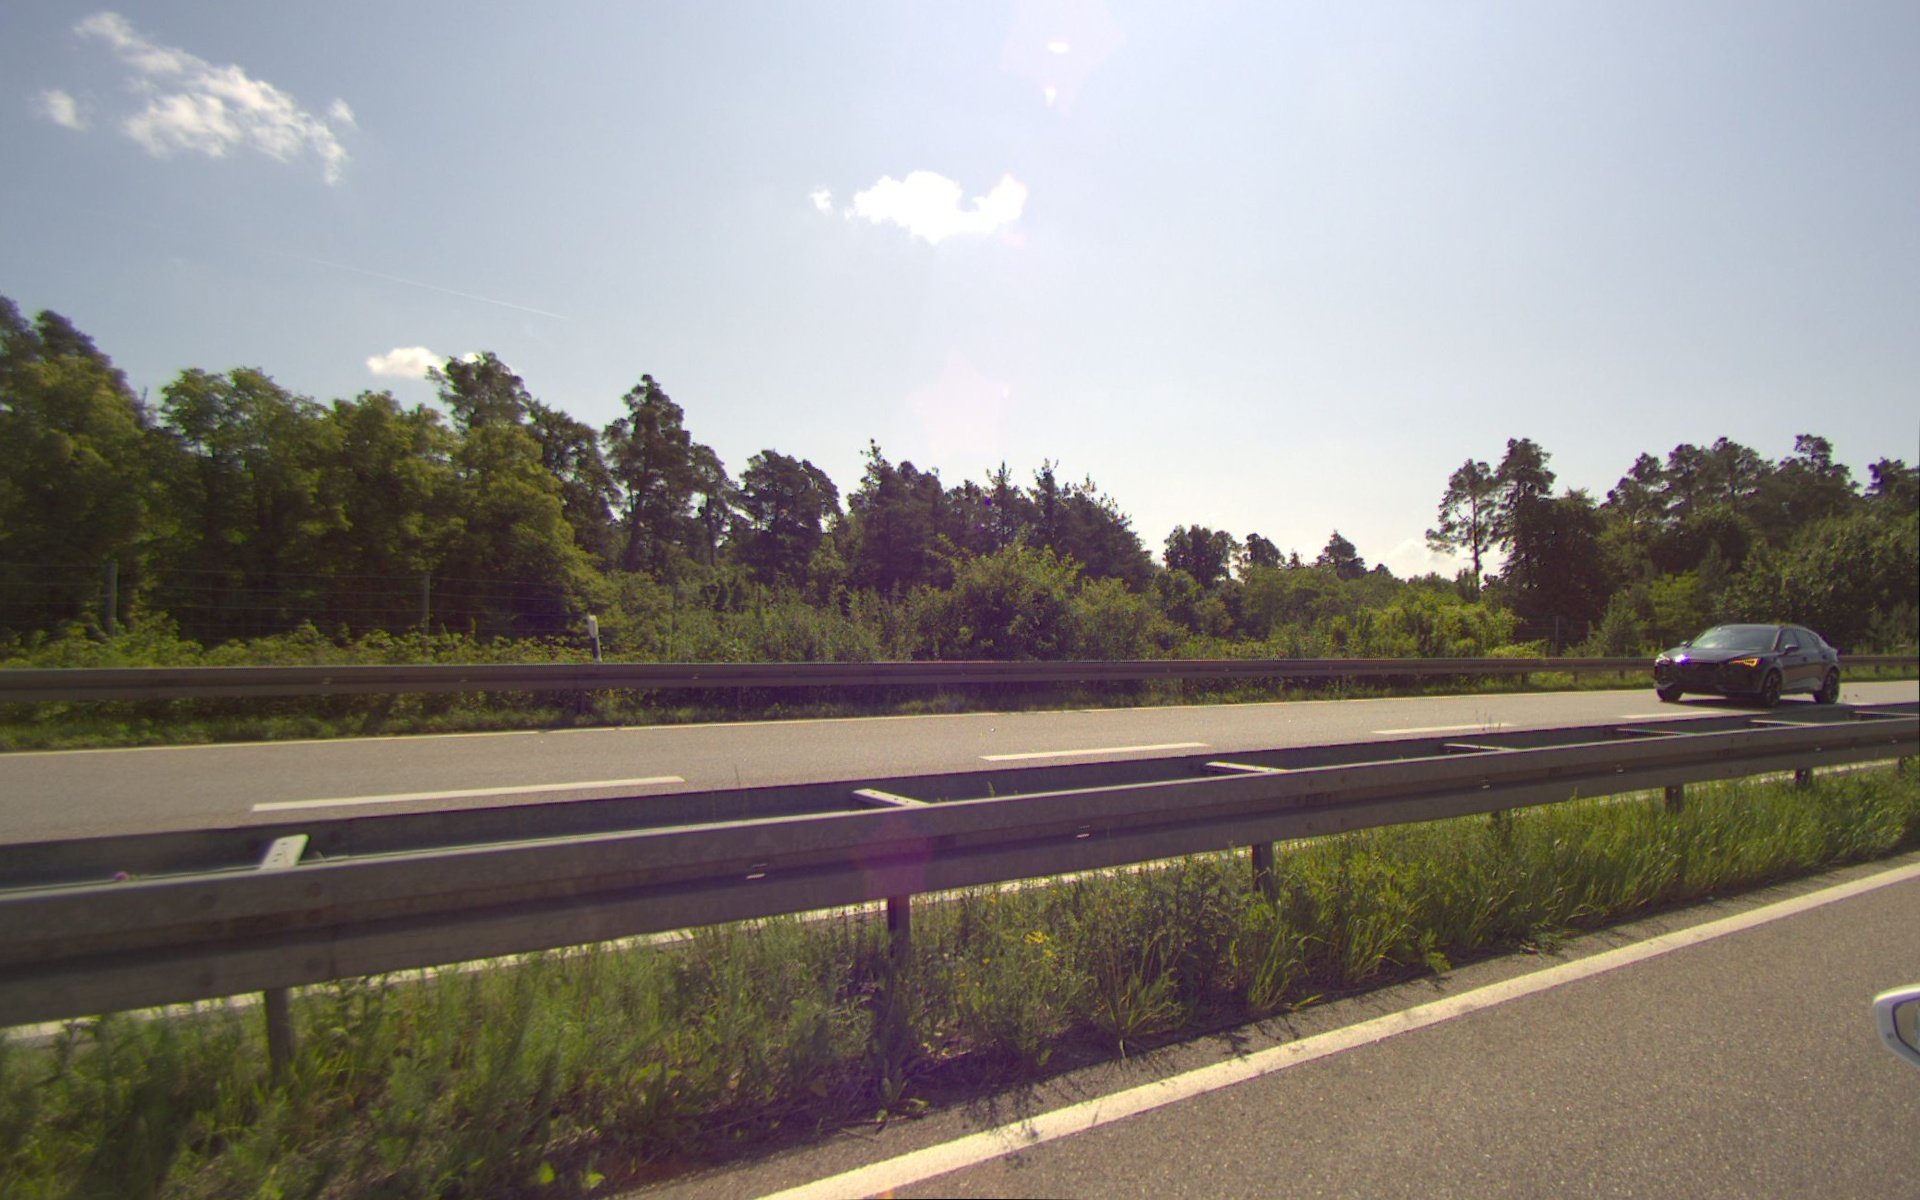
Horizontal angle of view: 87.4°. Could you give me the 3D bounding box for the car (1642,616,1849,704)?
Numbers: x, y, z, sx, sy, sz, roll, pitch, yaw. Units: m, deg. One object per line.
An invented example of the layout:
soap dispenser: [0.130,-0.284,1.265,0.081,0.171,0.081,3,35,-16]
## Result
car: [15.468,1.114,19.724,4.523,1.521,1.746,1,0,-32]
